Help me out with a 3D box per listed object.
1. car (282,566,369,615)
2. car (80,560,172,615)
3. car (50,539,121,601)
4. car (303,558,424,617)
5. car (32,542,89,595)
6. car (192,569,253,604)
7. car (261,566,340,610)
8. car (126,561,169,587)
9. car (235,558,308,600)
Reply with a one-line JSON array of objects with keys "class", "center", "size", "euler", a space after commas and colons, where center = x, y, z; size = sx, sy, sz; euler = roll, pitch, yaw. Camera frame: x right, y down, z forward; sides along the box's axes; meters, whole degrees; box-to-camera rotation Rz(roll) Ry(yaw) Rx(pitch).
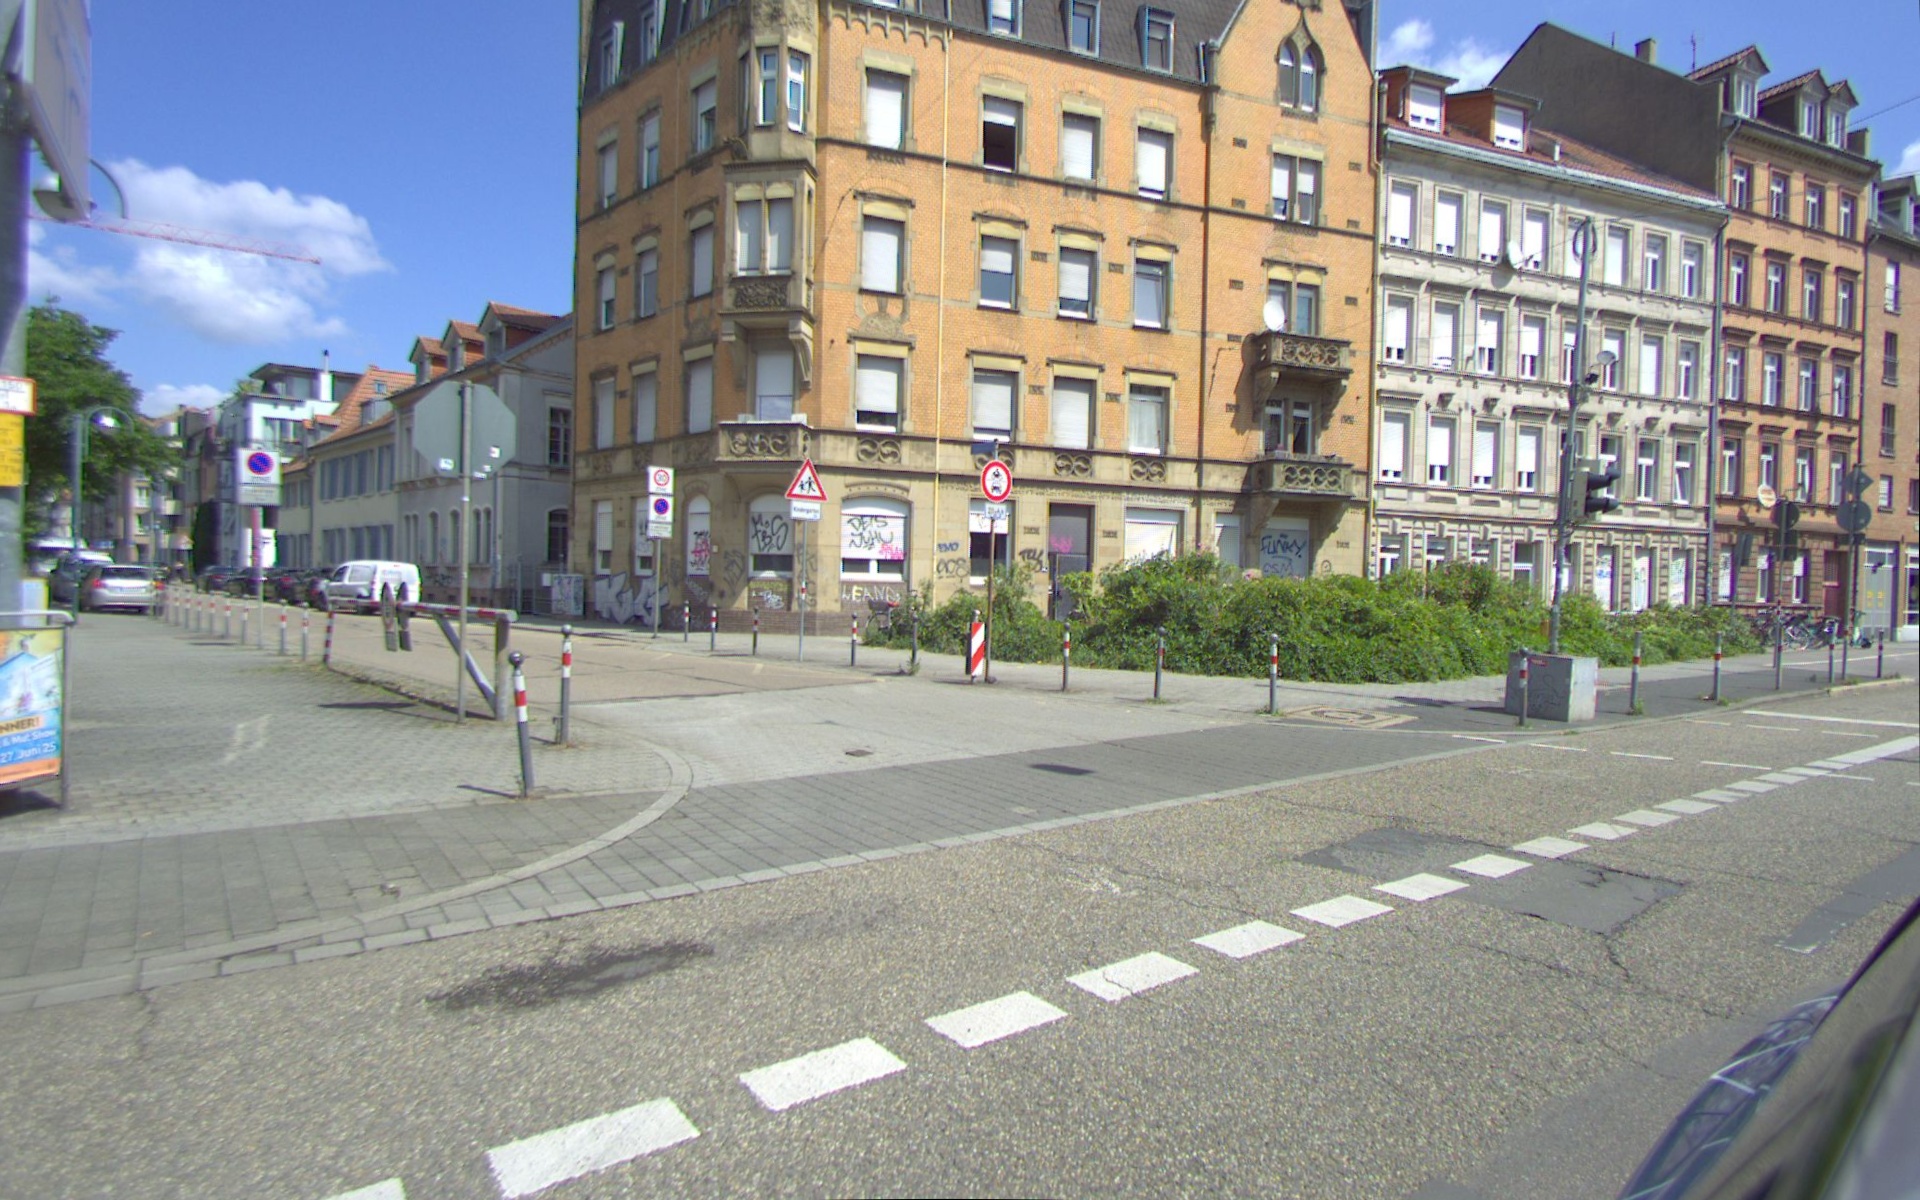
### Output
[{"class": "car", "center": [-23.743, -0.346, 37.826], "size": [1.967, 1.717, 3.989], "euler": [-1, 1, -44]}, {"class": "car", "center": [-24.727, -0.350, 29.971], "size": [1.837, 1.517, 3.990], "euler": [0, 0, -43]}, {"class": "car", "center": [-33.225, -1.077, 38.396], "size": [1.837, 2.213, 4.796], "euler": [0, 0, -43]}, {"class": "car", "center": [-19.825, -0.436, 33.596], "size": [3.972, 1.845, 1.917], "euler": [2, 1, 34]}, {"class": "car", "center": [-42.109, -1.411, 47.341], "size": [1.837, 2.387, 4.796], "euler": [0, 0, -43]}, {"class": "car", "center": [-37.671, -0.671, 51.676], "size": [1.967, 1.717, 3.989], "euler": [0, 0, -44]}, {"class": "car", "center": [-26.756, -0.463, 41.018], "size": [1.967, 1.717, 3.989], "euler": [0, 0, -44]}, {"class": "car", "center": [-56.650, -1.795, 70.529], "size": [1.967, 1.717, 4.222], "euler": [0, 0, -44]}, {"class": "car", "center": [-29.926, -0.873, 43.938], "size": [1.967, 1.717, 3.989], "euler": [0, 0, -44]}]
